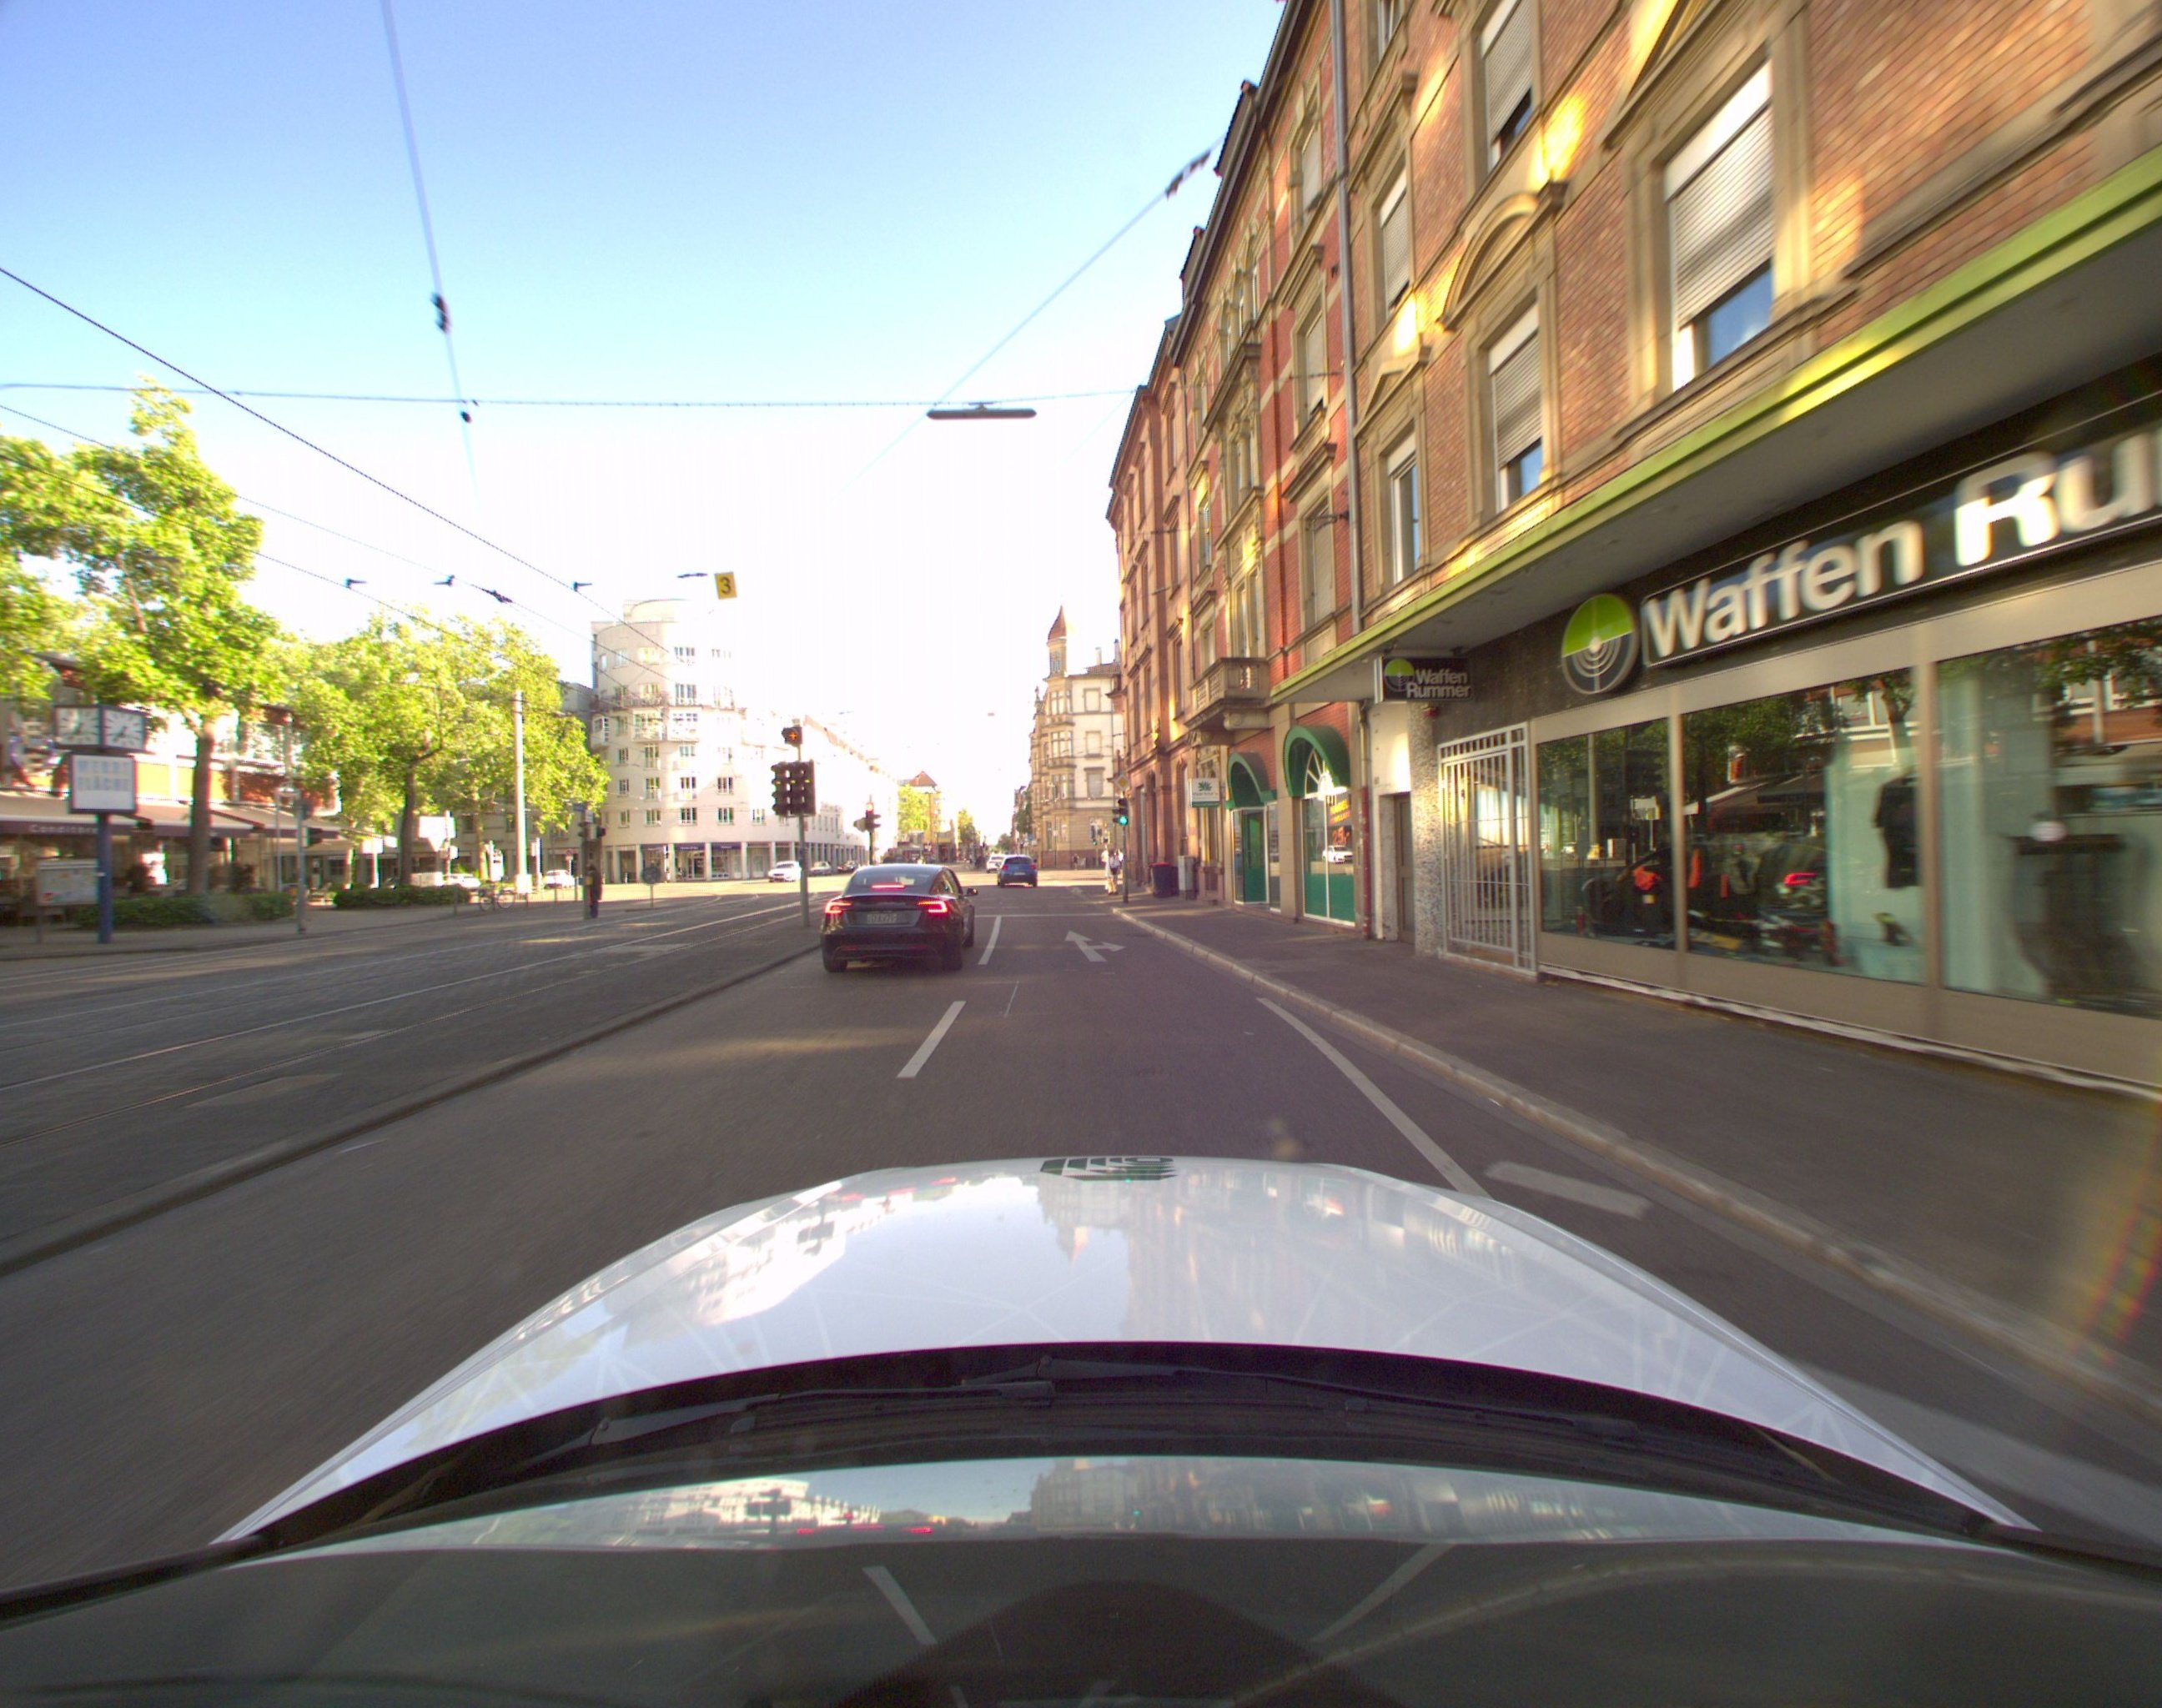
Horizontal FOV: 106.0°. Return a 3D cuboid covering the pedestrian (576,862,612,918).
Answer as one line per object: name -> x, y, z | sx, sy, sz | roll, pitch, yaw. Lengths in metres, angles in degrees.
pedestrian -> -13.896, 1.010, 23.262 | 0.499, 1.517, 0.857 | -3, 0, -6

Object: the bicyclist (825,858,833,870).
bicyclist -> -27.312, 1.082, 88.346 | 0.588, 1.285, 0.989 | -2, -1, -8

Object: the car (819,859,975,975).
car -> -2.576, 0.799, 12.301 | 1.808, 1.424, 4.145 | 0, 0, -6

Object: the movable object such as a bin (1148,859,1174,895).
movable object such as a bin -> 2.522, 0.716, 25.688 | 0.662, 1.072, 0.590 | -4, 0, -4

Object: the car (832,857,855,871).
car -> -27.847, 1.216, 95.614 | 1.992, 1.596, 3.989 | -2, -1, -8

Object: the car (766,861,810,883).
car -> -20.991, 1.252, 58.523 | 1.992, 1.451, 4.490 | -2, 0, -7

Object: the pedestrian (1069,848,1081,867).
pedestrian -> -0.518, 0.319, 71.470 | 0.918, 1.632, 0.942 | -2, -1, 2

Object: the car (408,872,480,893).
car -> -48.920, 2.180, 62.587 | 3.985, 1.403, 1.802 | -1, 2, -3

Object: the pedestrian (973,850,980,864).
pedestrian -> -14.051, 0.415, 109.651 | 0.710, 1.777, 0.569 | -2, 0, 30

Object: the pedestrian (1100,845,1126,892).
pedestrian -> 1.133, 0.500, 28.853 | 0.682, 1.607, 0.727 | -2, 0, -15

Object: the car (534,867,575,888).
car -> -42.847, 1.888, 66.357 | 1.803, 1.403, 4.076 | -1, 2, -19

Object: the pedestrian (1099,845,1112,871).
pedestrian -> 1.639, 0.276, 54.018 | 0.695, 1.655, 0.634 | -2, -1, 16

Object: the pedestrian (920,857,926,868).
pedestrian -> -23.130, 1.258, 119.179 | 0.730, 1.559, 0.741 | -1, 0, -7

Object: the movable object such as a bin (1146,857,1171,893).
movable object such as a bin -> 2.489, 0.672, 26.276 | 0.662, 1.072, 0.544 | -4, 0, -4

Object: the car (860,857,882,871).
car -> -28.764, 1.375, 111.479 | 2.225, 1.911, 4.598 | -1, 0, -7

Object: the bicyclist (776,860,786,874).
bicyclist -> -26.754, 1.168, 72.630 | 0.587, 1.285, 0.925 | -2, -1, -5

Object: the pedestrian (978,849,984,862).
pedestrian -> -12.921, 0.178, 104.830 | 0.634, 1.698, 0.933 | 0, -1, 2

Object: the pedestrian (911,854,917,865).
pedestrian -> -22.970, 0.767, 111.729 | 0.730, 1.527, 0.741 | -1, 0, -7

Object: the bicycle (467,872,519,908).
bicycle -> -21.454, 1.285, 29.773 | 0.497, 1.186, 2.229 | -2, 0, -7

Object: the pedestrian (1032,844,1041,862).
pedestrian -> -4.474, -0.120, 82.247 | 0.779, 1.749, 1.090 | -1, 1, -8

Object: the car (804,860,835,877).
car -> -25.042, 1.359, 78.042 | 1.992, 1.451, 4.638 | -2, 0, -7

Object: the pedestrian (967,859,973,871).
pedestrian -> -14.923, 1.452, 109.237 | 0.579, 1.562, 0.472 | -2, 0, 30

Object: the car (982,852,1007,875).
car -> -6.954, 0.790, 65.837 | 1.991, 1.743, 3.992 | 0, -1, -6

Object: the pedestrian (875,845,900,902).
pedestrian -> -6.113, 0.600, 25.819 | 0.557, 1.763, 0.893 | -3, 0, -6

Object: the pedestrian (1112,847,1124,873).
pedestrian -> 2.427, 0.399, 53.803 | 0.638, 1.745, 0.708 | 0, -2, 16

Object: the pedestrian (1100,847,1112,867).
pedestrian -> 2.023, 0.240, 65.611 | 0.627, 1.537, 0.947 | -2, -1, 26

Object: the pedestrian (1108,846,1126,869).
pedestrian -> 2.667, 0.240, 60.345 | 0.914, 1.632, 0.947 | -2, -1, 26

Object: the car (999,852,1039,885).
car -> -2.905, 0.637, 37.722 | 1.778, 1.451, 3.647 | 0, 0, -5
